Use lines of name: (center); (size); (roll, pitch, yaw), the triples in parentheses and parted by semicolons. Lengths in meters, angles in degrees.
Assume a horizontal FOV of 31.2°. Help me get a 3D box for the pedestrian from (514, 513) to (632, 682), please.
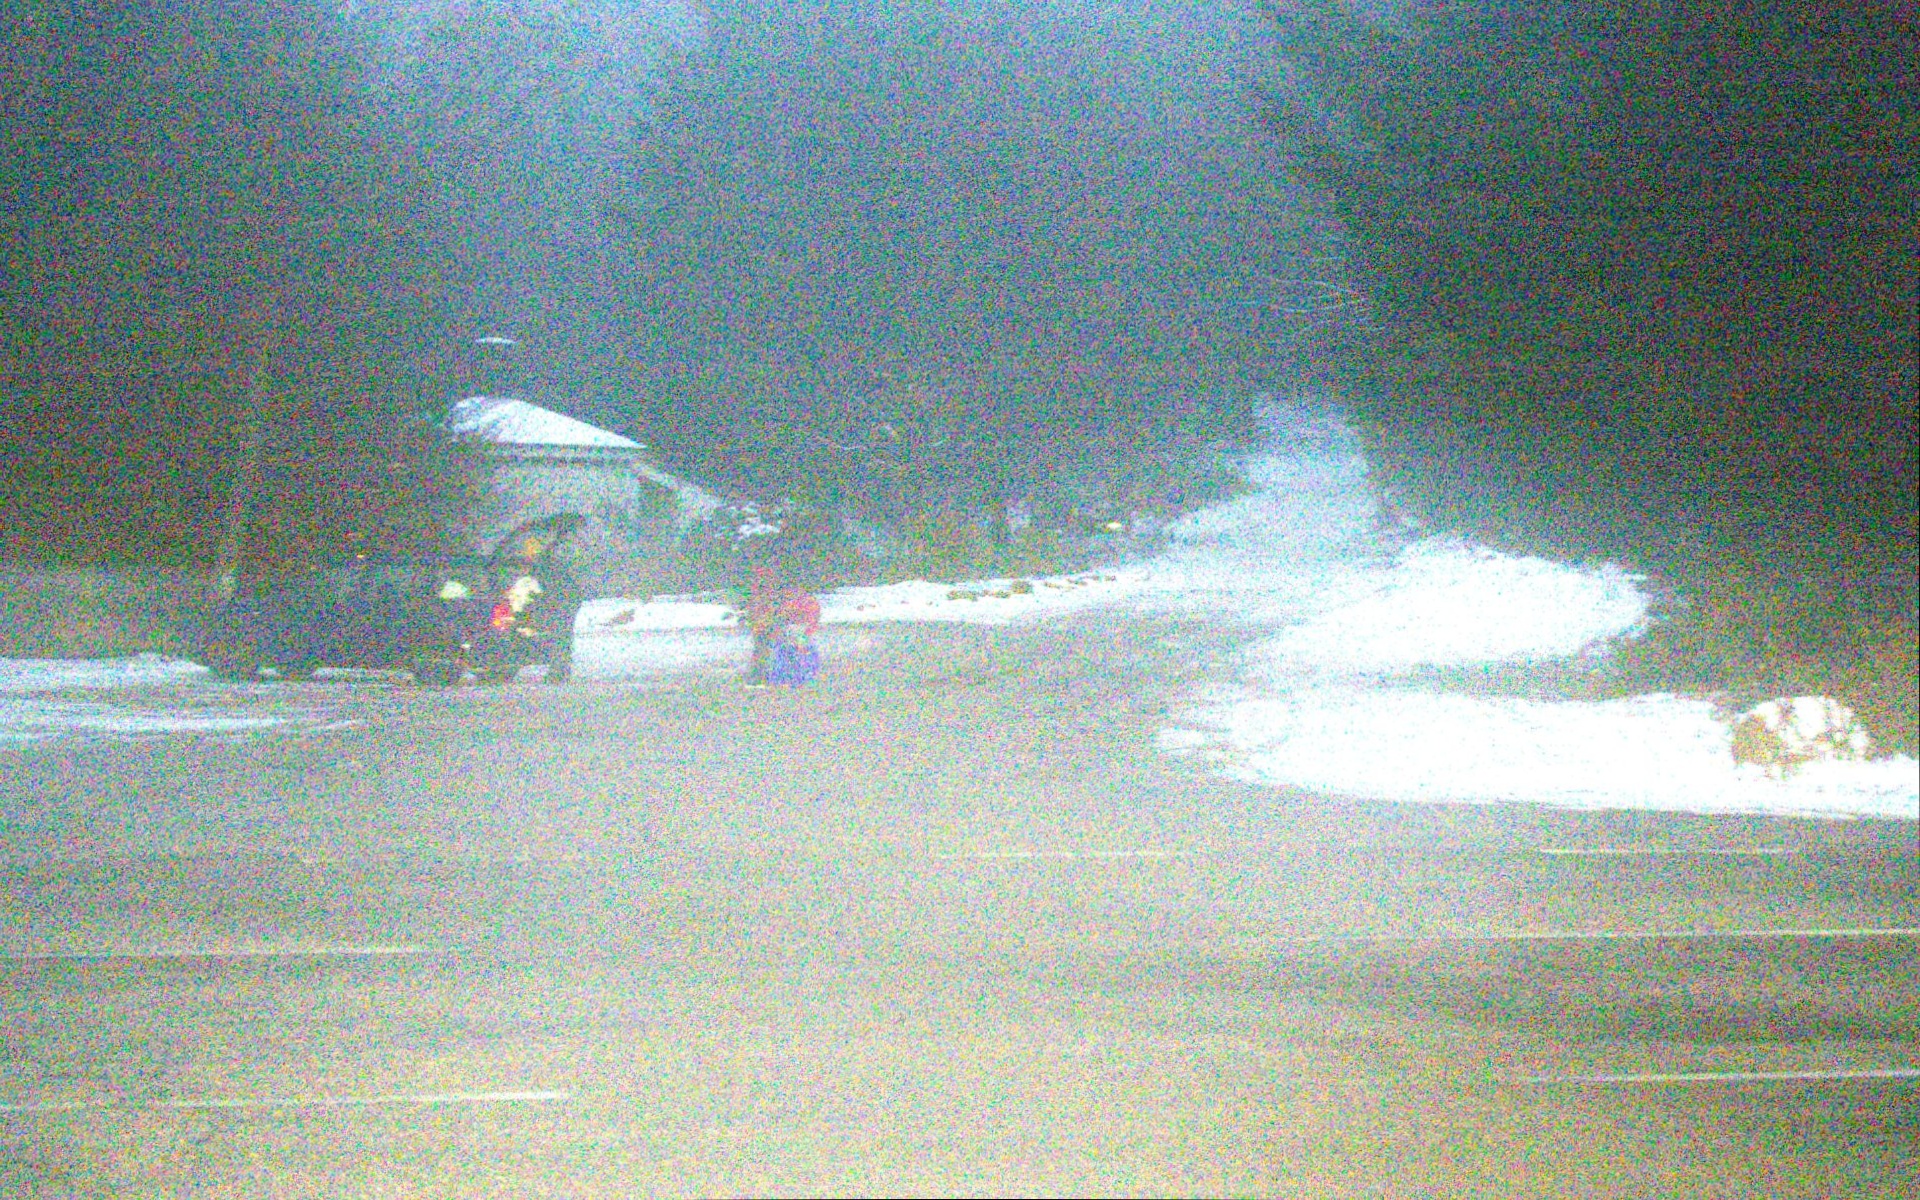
pedestrian: (-4.265, -0.027, 37.908); (0.961, 1.822, 0.924); (1, 0, 17)

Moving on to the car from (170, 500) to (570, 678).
car: (-6.621, -0.127, 38.785); (3.949, 1.875, 1.999); (1, 0, 12)
